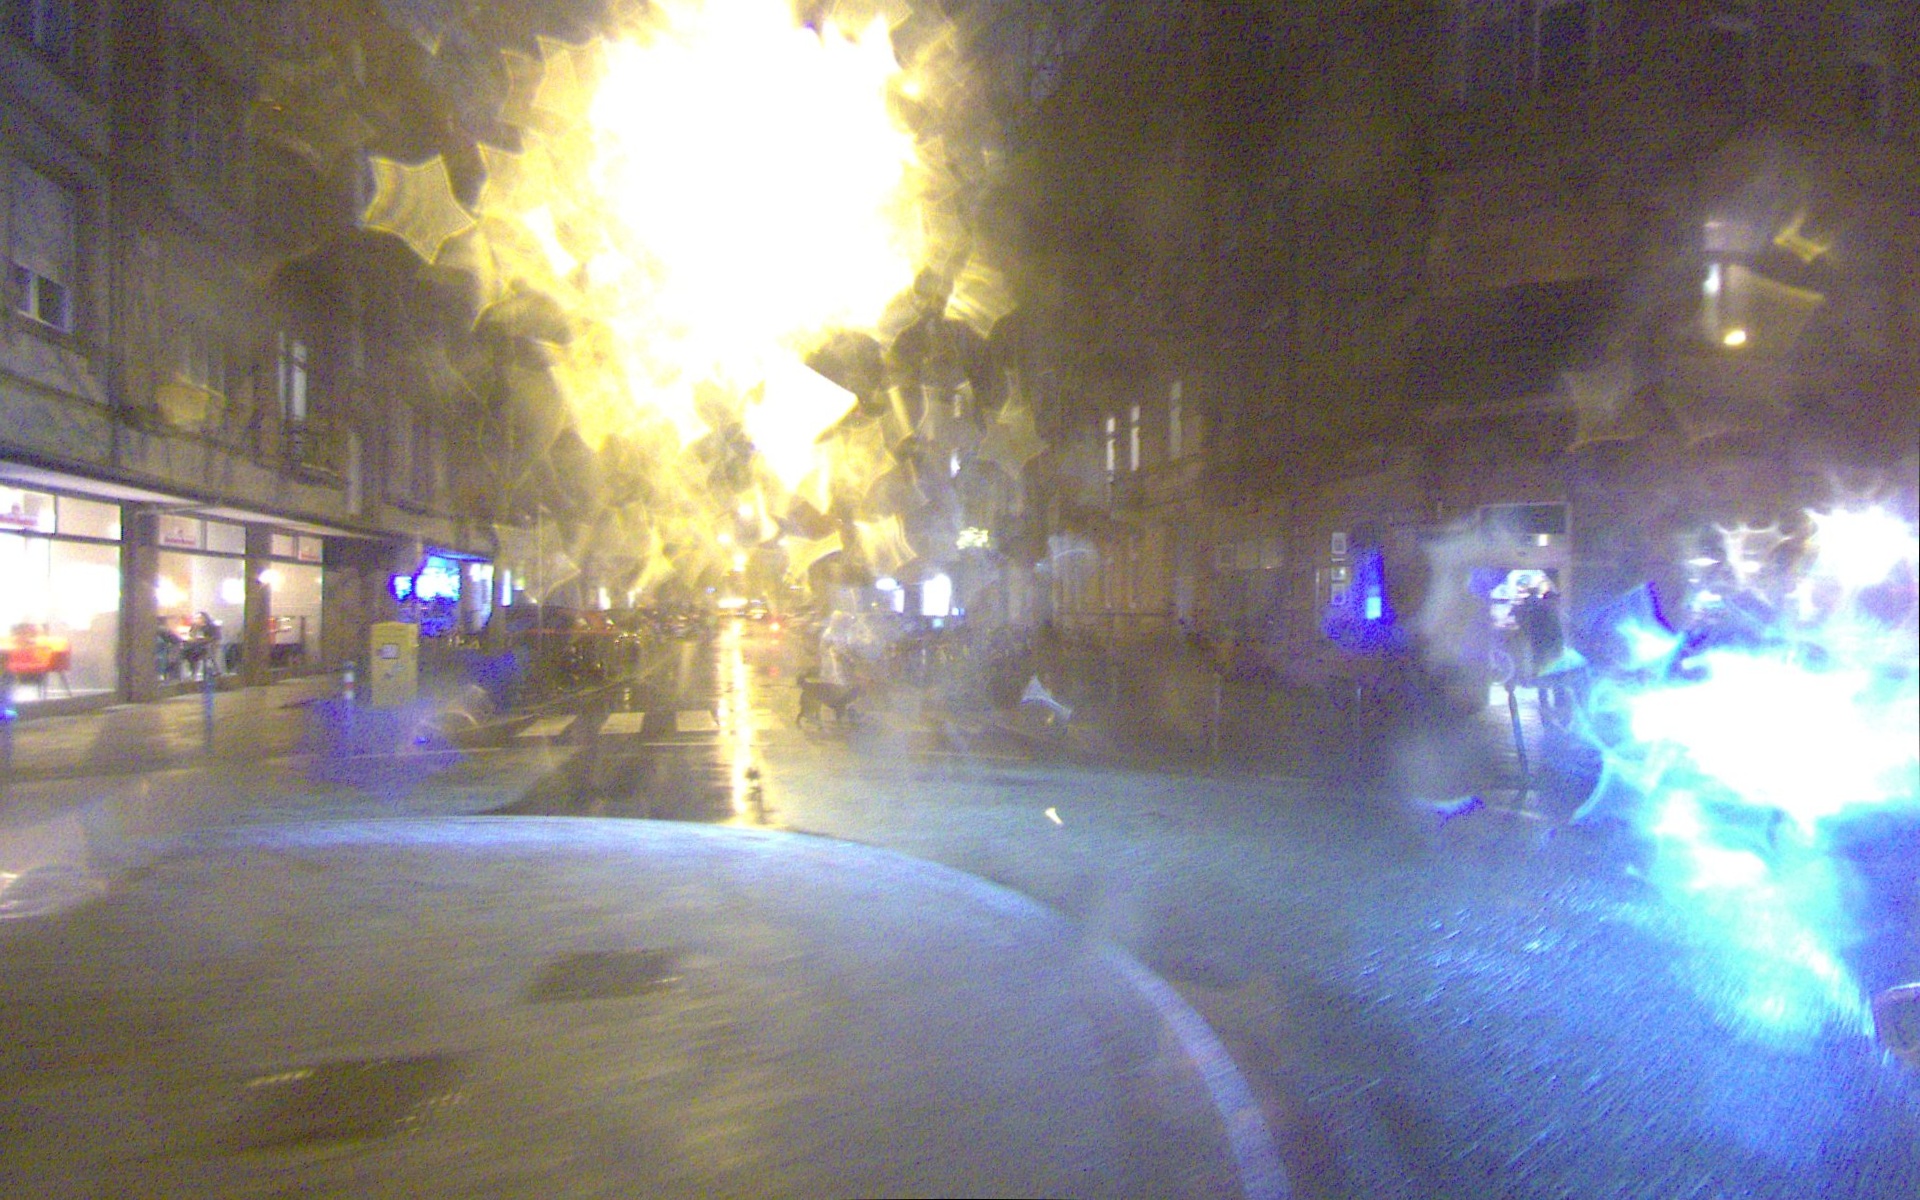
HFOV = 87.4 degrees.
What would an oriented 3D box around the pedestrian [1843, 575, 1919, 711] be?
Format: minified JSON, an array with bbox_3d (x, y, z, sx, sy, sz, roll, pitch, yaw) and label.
[{"bbox_3d":[12.930,0.569,13.708,0.997,1.790,0.805,1,2,-7],"label":"pedestrian"}]

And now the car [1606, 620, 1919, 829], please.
[{"bbox_3d":[7.580,0.884,8.044,3.994,1.446,1.566,0,-1,-8],"label":"car"}]

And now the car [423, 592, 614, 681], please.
[{"bbox_3d":[-10.769,0.873,24.786,3.928,2.041,1.996,1,2,-10],"label":"car"}]

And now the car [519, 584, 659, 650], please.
[{"bbox_3d":[-12.020,0.527,32.771,3.928,2.041,1.996,1,2,-10],"label":"car"}]

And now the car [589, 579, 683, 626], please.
[{"bbox_3d":[-14.600,0.111,45.386,3.937,2.041,1.992,1,2,-19],"label":"car"}]

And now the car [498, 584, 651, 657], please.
[{"bbox_3d":[-11.437,0.586,30.052,3.928,2.041,1.996,1,2,-10],"label":"car"}]

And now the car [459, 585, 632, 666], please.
[{"bbox_3d":[-11.077,0.663,27.104,3.928,2.041,1.996,1,2,-10],"label":"car"}]

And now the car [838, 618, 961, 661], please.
[{"bbox_3d":[-1.902,1.208,31.291,3.654,1.292,1.588,0,-1,-11],"label":"car"}]

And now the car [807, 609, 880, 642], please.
[{"bbox_3d":[-5.964,1.315,51.217,3.607,1.649,1.588,0,-1,-11],"label":"car"}]

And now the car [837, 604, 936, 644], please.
[{"bbox_3d":[-2.665,0.863,36.208,3.400,1.422,1.588,0,-1,-11],"label":"car"}]

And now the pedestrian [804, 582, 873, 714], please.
[{"bbox_3d":[-1.770,0.705,14.773,0.928,1.882,0.799,0,-2,0],"label":"pedestrian"}]

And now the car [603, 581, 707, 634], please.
[{"bbox_3d":[-12.344,0.286,40.694,3.937,2.041,1.991,0,2,-19],"label":"car"}]
